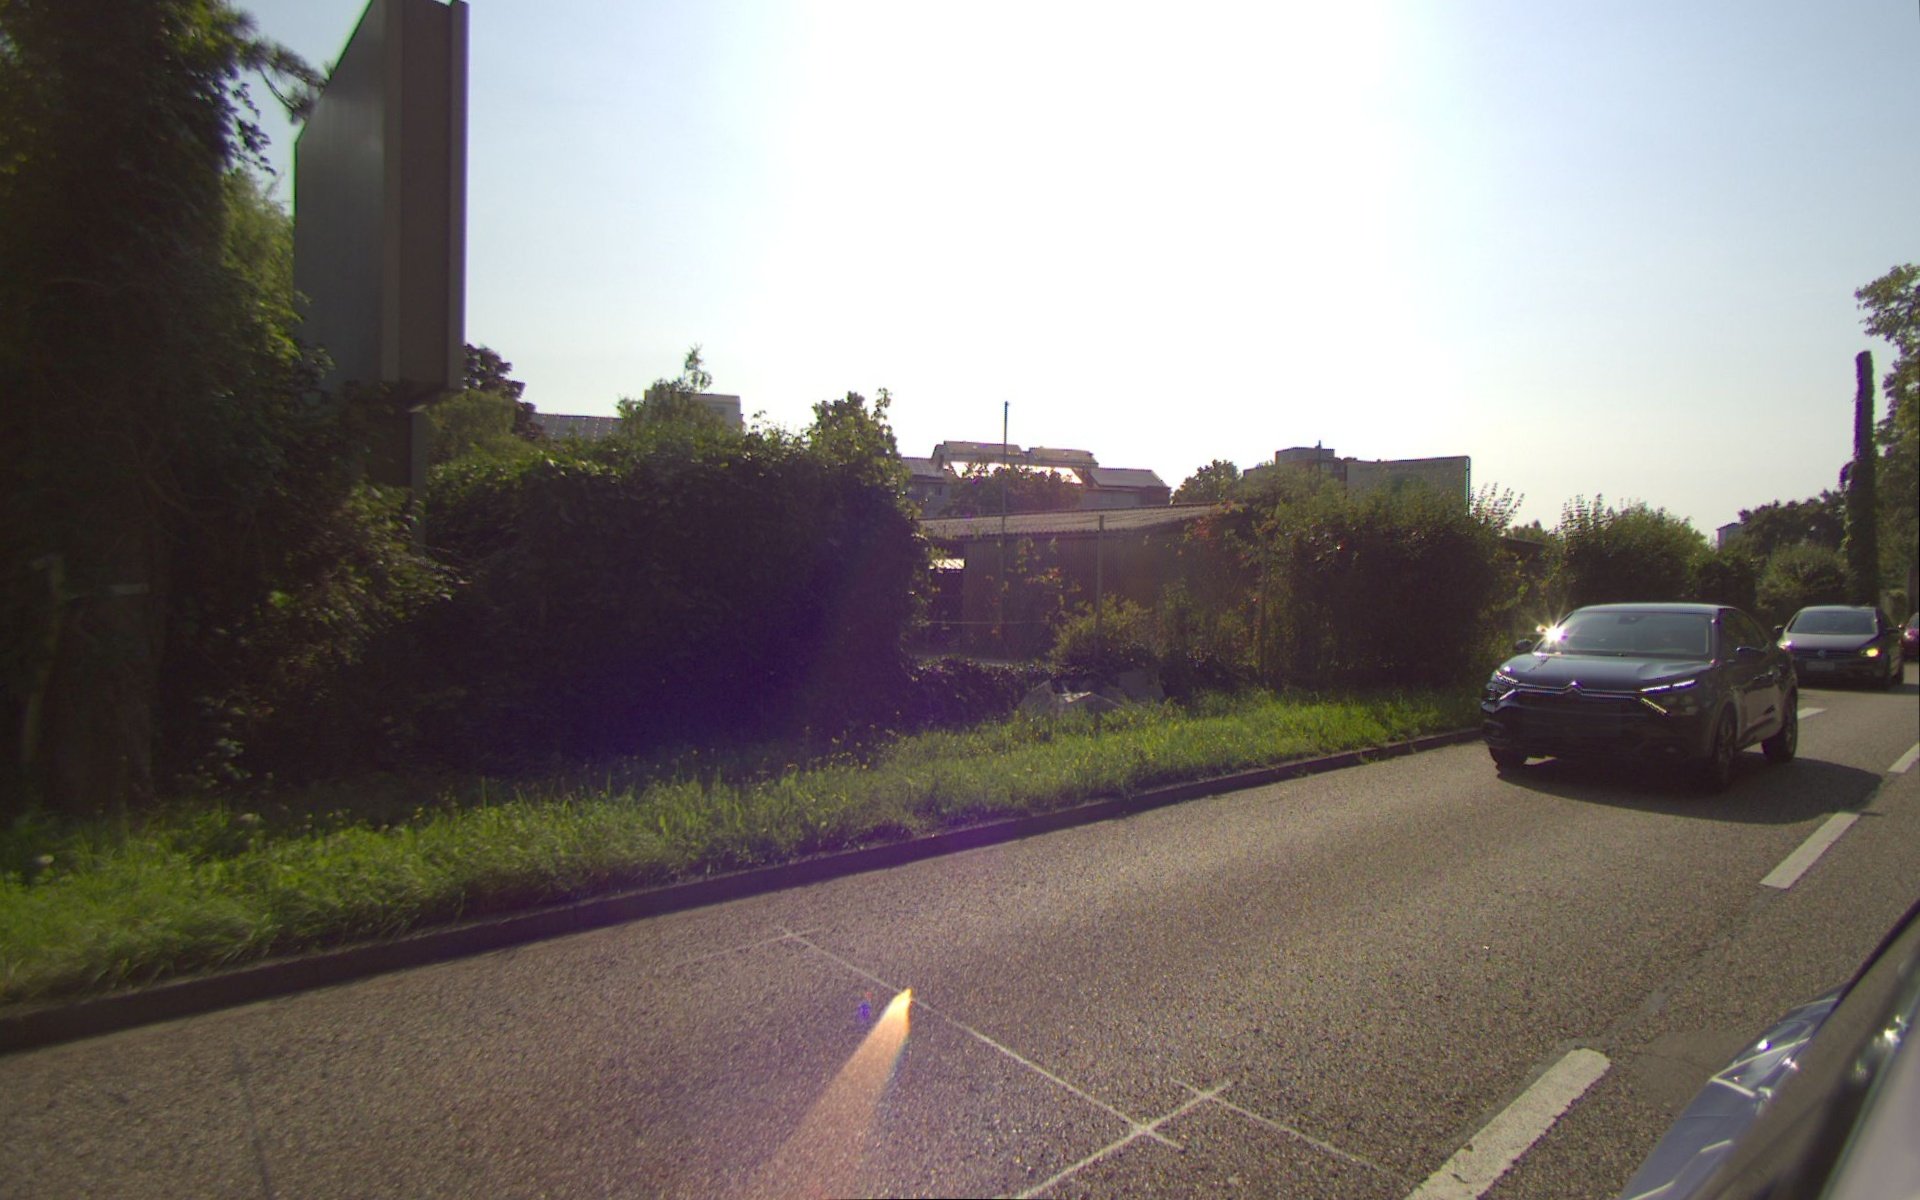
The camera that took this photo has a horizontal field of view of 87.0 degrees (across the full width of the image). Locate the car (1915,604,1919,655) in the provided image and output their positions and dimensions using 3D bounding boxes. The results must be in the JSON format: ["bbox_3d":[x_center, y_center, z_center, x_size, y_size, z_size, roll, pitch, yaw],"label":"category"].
[{"bbox_3d":[29.460,0.896,30.018,1.575,1.416,3.418,3,2,43],"label":"car"}]

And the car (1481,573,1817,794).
[{"bbox_3d":[6.577,0.585,9.469,4.182,1.608,1.648,0,2,-42],"label":"car"}]

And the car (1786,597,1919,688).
[{"bbox_3d":[17.849,0.762,20.127,3.832,1.576,1.647,0,1,-42],"label":"car"}]
